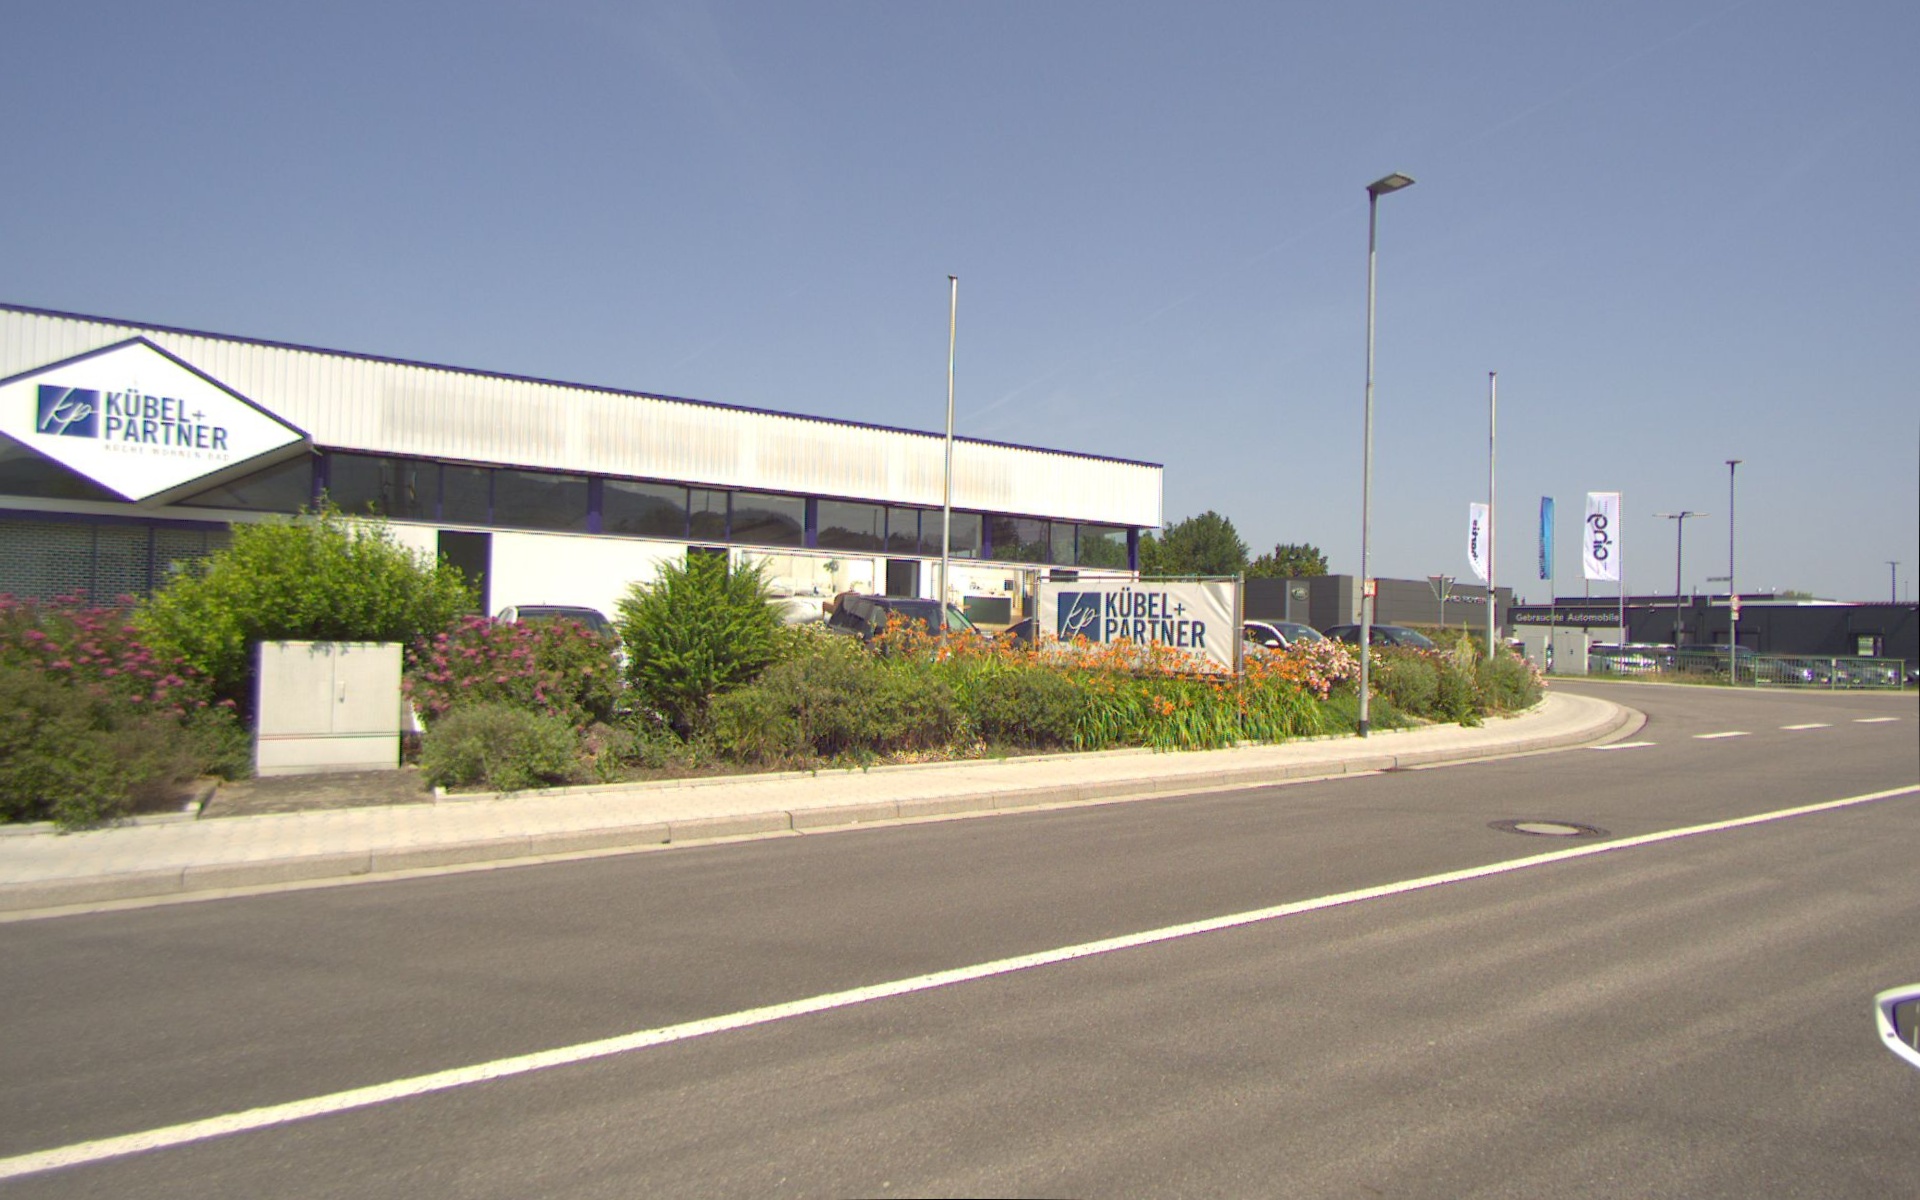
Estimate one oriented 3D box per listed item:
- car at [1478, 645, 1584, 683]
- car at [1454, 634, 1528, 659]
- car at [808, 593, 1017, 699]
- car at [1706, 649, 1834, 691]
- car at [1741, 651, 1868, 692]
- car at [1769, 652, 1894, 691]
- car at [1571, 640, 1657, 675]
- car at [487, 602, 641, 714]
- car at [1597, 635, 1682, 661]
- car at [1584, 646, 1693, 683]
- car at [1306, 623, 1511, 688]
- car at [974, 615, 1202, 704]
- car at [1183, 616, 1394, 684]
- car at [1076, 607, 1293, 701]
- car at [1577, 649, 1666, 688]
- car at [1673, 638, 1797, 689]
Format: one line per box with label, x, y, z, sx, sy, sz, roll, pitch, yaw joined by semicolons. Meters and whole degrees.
car;27.146;3.016;47.836;1.954;1.686;3.967;1;-2;-31
car;32.284;2.821;61.113;1.667;1.439;3.665;1;-2;-31
car;-0.962;0.781;17.561;1.814;1.616;4.200;2;-2;-33
car;35.303;3.007;43.885;1.865;1.653;3.967;1;-2;-31
car;37.822;3.164;45.069;1.954;1.653;3.967;1;-2;-31
car;40.233;3.278;46.477;1.954;1.653;3.967;1;-2;-31
car;37.438;3.261;57.574;1.667;1.852;3.818;1;-2;-31
car;-5.722;0.735;14.299;1.487;1.271;3.491;2;1;-31
car;39.970;2.817;59.189;1.667;1.439;3.818;1;-2;-31
car;32.892;3.086;48.788;1.954;1.686;3.967;1;-2;-31
car;10.613;1.292;24.063;1.814;1.412;4.200;2;-2;-33
car;2.238;1.037;18.419;1.981;1.432;3.959;2;-2;-36
car;7.036;1.063;21.923;1.814;1.332;4.200;2;-2;-33
car;4.354;1.041;20.070;1.814;1.669;4.200;2;-2;-33
car;29.837;3.047;45.463;1.888;1.582;4.512;2;-2;13
car;32.384;2.601;42.176;2.024;1.889;4.683;3;-2;8
